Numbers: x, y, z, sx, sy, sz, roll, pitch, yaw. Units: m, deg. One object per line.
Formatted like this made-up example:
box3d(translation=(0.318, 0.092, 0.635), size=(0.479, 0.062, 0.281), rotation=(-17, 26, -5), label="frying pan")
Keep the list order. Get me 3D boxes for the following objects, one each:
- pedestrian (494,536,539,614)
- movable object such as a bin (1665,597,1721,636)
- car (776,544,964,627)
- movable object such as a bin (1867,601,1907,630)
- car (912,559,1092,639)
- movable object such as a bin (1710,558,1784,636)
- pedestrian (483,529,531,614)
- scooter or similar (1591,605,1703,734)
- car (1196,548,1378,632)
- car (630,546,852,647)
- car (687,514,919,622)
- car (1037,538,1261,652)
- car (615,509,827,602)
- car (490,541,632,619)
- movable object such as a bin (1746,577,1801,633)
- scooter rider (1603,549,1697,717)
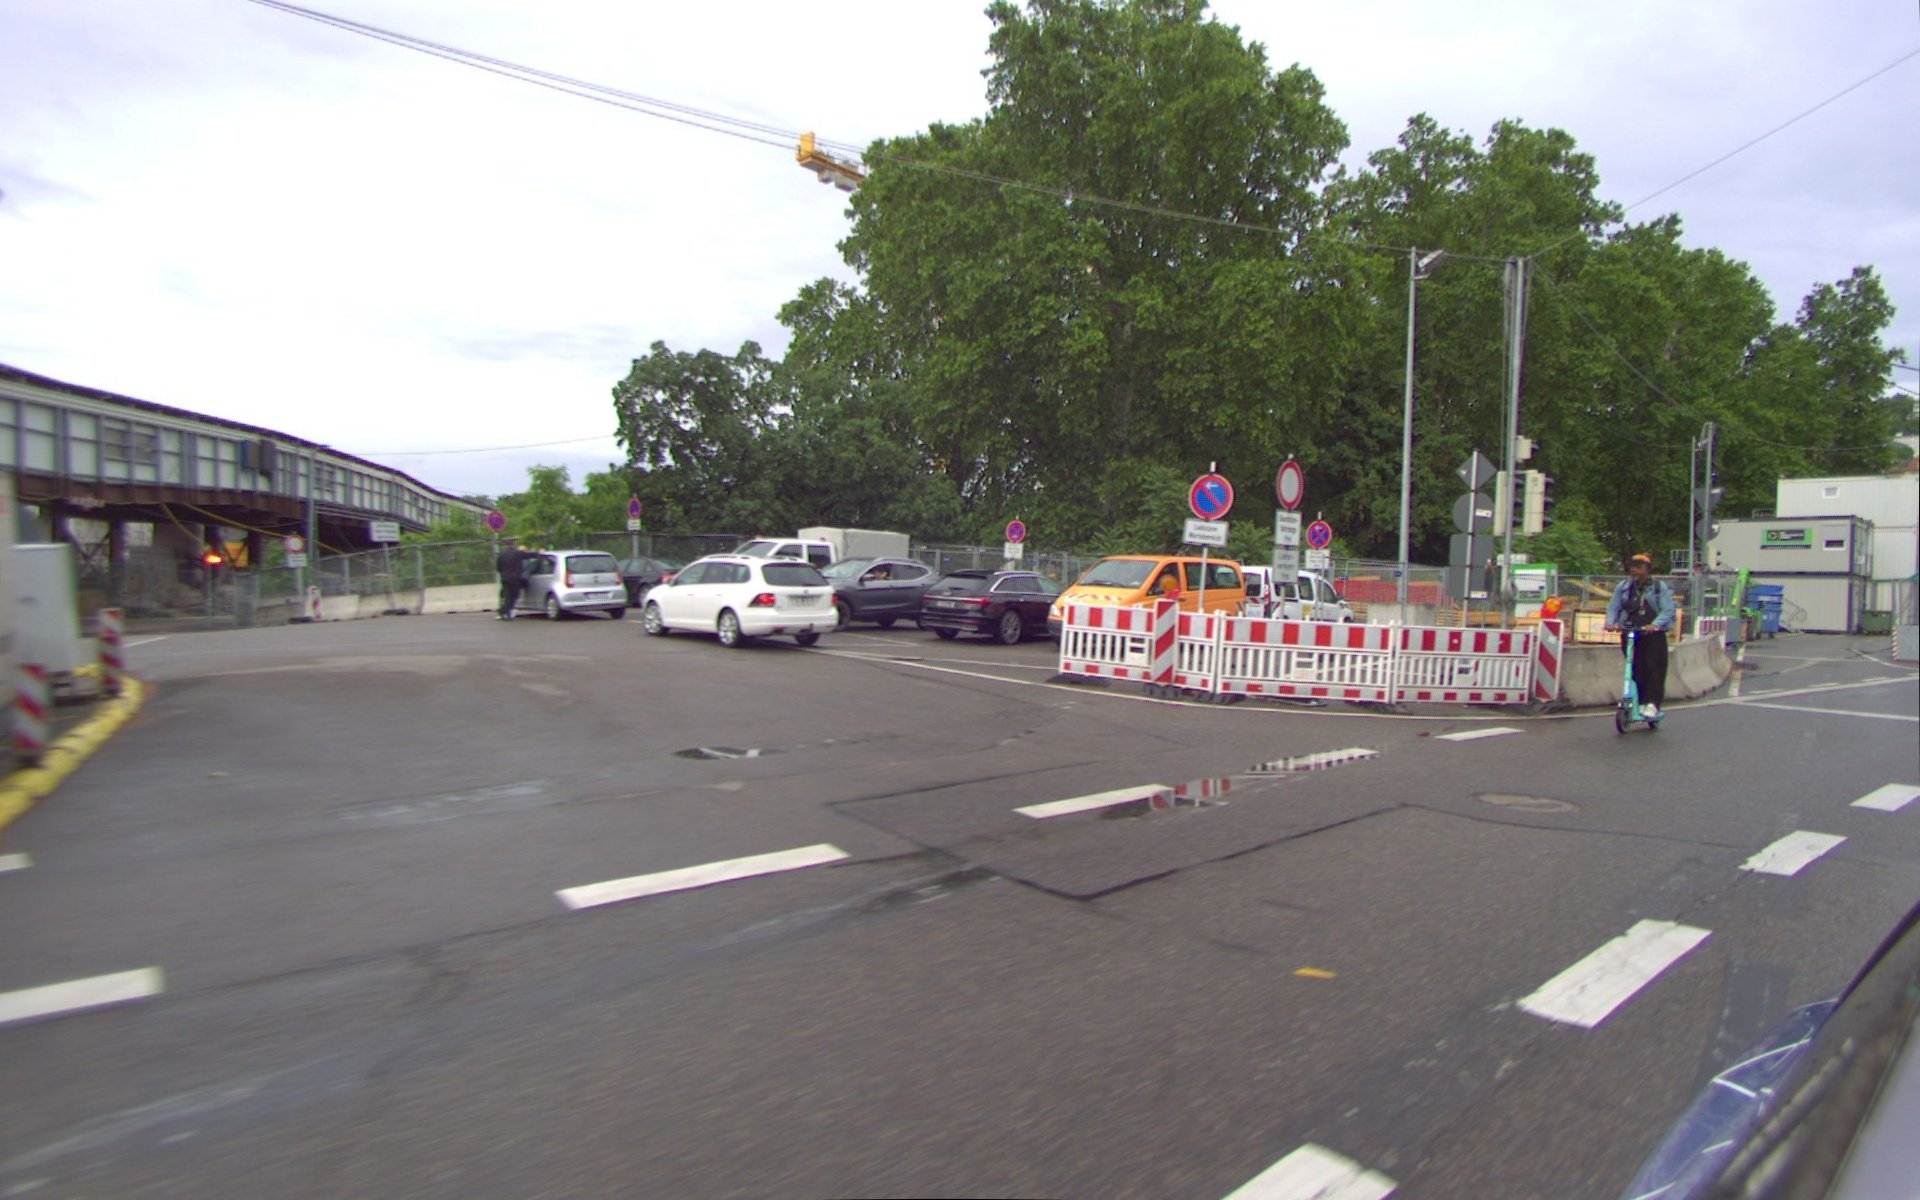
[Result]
box3d(translation=(-9.646, -0.549, 22.039), size=(0.802, 1.655, 0.710), rotation=(0, 4, -17), label="pedestrian")
box3d(translation=(27.015, 0.602, 37.312), size=(1.238, 1.361, 1.182), rotation=(2, 0, -21), label="movable object such as a bin")
box3d(translation=(-1.951, -0.334, 22.686), size=(1.940, 1.639, 3.873), rotation=(5, 3, 43), label="car")
box3d(translation=(44.980, 0.740, 49.086), size=(1.218, 1.251, 1.249), rotation=(-3, 5, -41), label="movable object such as a bin")
box3d(translation=(0.961, -0.084, 21.128), size=(1.907, 1.469, 3.861), rotation=(3, 3, 36), label="car")
box3d(translation=(30.588, -0.097, 39.297), size=(1.807, 2.845, 3.804), rotation=(2, 0, 44), label="movable object such as a bin")
box3d(translation=(-9.525, -0.610, 21.297), size=(0.806, 1.754, 0.710), rotation=(0, 4, -17), label="pedestrian")
box3d(translation=(7.778, 0.735, 11.431), size=(1.638, 1.335, 0.598), rotation=(0, 1, -40), label="scooter or similar")
box3d(translation=(8.001, -0.185, 24.467), size=(4.997, 1.829, 1.850), rotation=(2, 0, -41), label="car")
box3d(translation=(-3.895, -0.127, 17.553), size=(1.785, 1.470, 4.206), rotation=(1, 2, -44), label="car")
box3d(translation=(-3.701, -0.788, 24.836), size=(2.044, 2.341, 5.520), rotation=(4, 3, 42), label="car")
box3d(translation=(3.905, -0.119, 20.229), size=(1.912, 2.000, 5.081), rotation=(2, 2, 44), label="car")
box3d(translation=(-6.535, -1.200, 28.233), size=(2.044, 2.341, 5.520), rotation=(4, 3, 42), label="car")
box3d(translation=(-8.870, -0.502, 22.412), size=(3.342, 1.498, 1.603), rotation=(5, 6, 41), label="car")
box3d(translation=(33.652, 0.184, 41.886), size=(1.447, 2.231, 1.253), rotation=(2, 0, 26), label="movable object such as a bin")
box3d(translation=(7.803, 0.351, 11.436), size=(0.979, 1.808, 0.598), rotation=(0, 1, -40), label="scooter rider")
